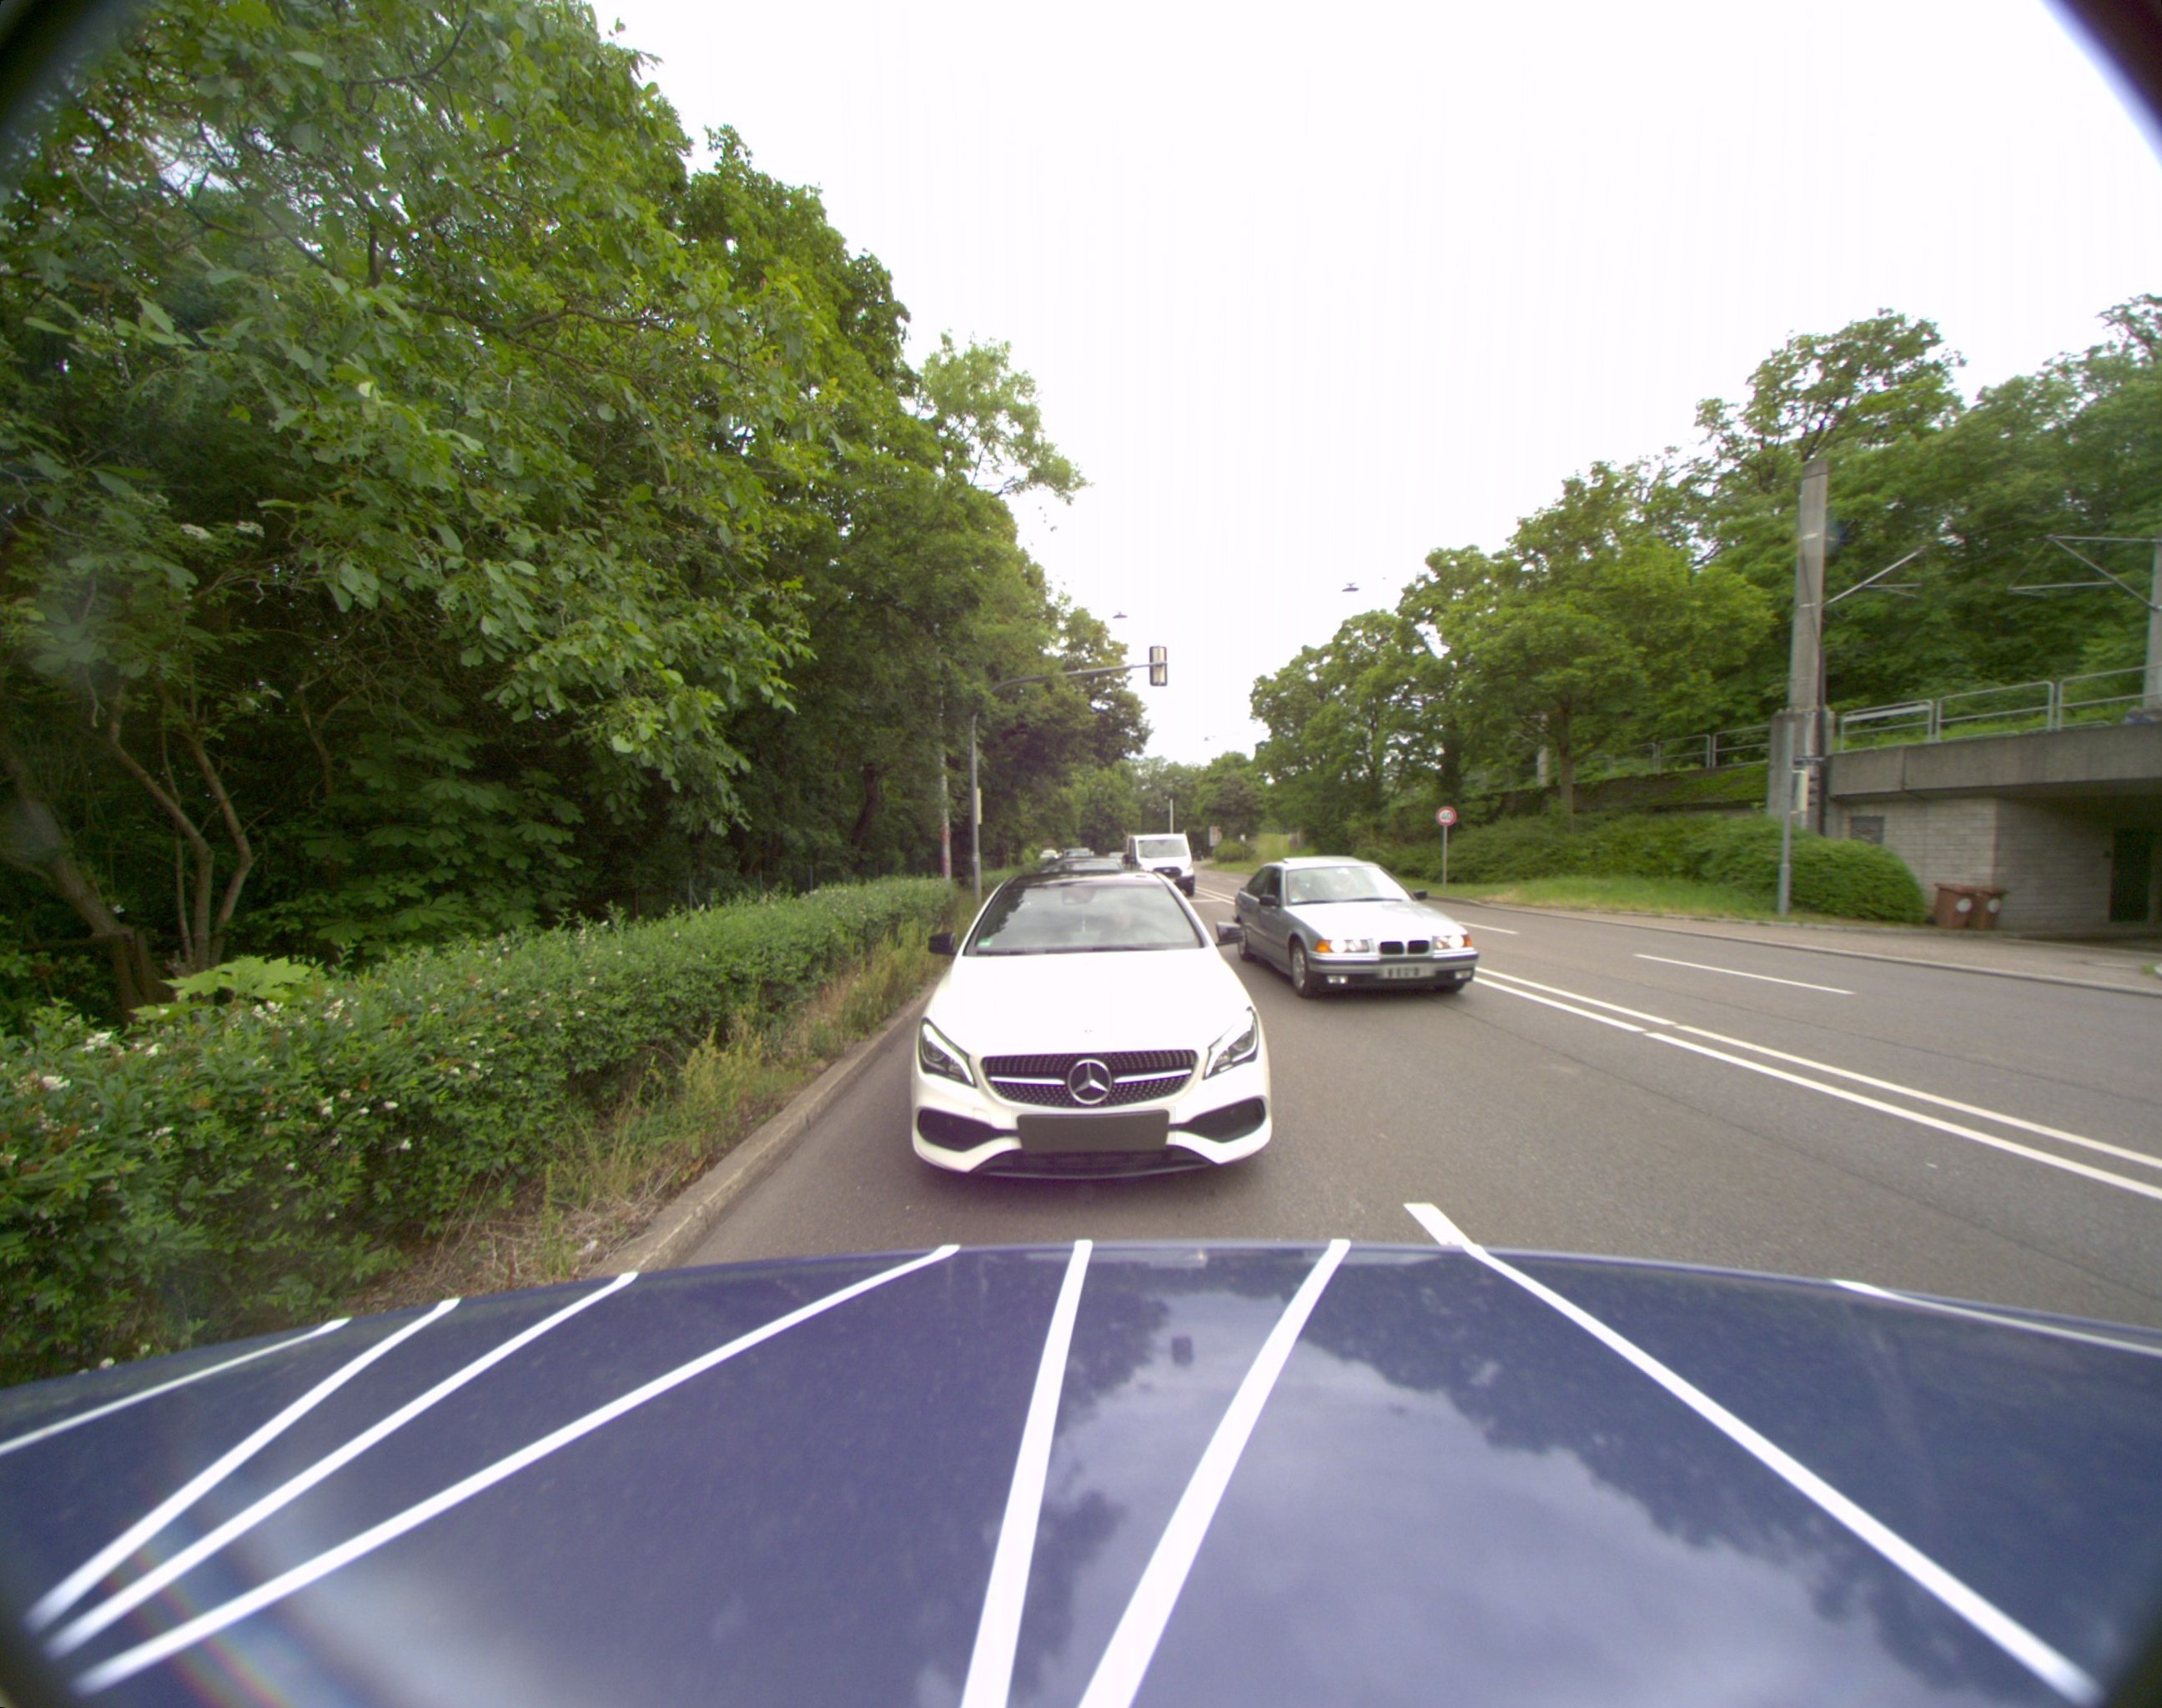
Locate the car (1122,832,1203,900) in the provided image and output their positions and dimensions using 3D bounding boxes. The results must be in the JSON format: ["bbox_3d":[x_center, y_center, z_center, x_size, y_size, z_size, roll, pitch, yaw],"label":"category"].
[{"bbox_3d":[2.858,0.366,28.122,2.285,2.187,6.458,-1,0,0],"label":"car"}]

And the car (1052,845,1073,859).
[{"bbox_3d":[-2.177,-0.258,90.210,1.754,1.575,4.013,1,0,10],"label":"car"}]

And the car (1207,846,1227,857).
[{"bbox_3d":[24.833,-0.468,139.010,1.994,2.002,4.008,0,1,38],"label":"car"}]

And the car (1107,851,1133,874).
[{"bbox_3d":[2.955,0.575,57.618,1.854,1.641,4.358,1,0,3],"label":"car"}]

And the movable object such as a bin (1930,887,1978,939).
[{"bbox_3d":[18.339,1.230,15.965,0.419,1.057,0.503,0,1,-4],"label":"movable object such as a bin"}]

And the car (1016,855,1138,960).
[{"bbox_3d":[-0.078,0.807,13.382,1.755,1.417,4.009,3,1,-1],"label":"car"}]

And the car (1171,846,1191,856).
[{"bbox_3d":[16.089,-0.479,122.044,1.751,1.354,4.019,3,1,30],"label":"car"}]

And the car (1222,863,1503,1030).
[{"bbox_3d":[2.904,0.847,8.869,1.664,1.382,4.182,-1,0,-1],"label":"car"}]

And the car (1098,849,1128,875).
[{"bbox_3d":[2.055,0.498,48.994,1.855,1.583,4.000,0,0,2],"label":"car"}]

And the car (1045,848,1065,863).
[{"bbox_3d":[-2.570,0.101,74.764,1.765,1.433,3.891,1,0,0],"label":"car"}]

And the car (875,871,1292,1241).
[{"bbox_3d":[0.038,0.950,5.397,1.801,1.470,4.010,-2,0,1],"label":"car"}]

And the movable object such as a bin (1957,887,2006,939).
[{"bbox_3d":[19.009,1.229,16.046,0.419,1.057,0.503,0,1,-4],"label":"movable object such as a bin"}]
